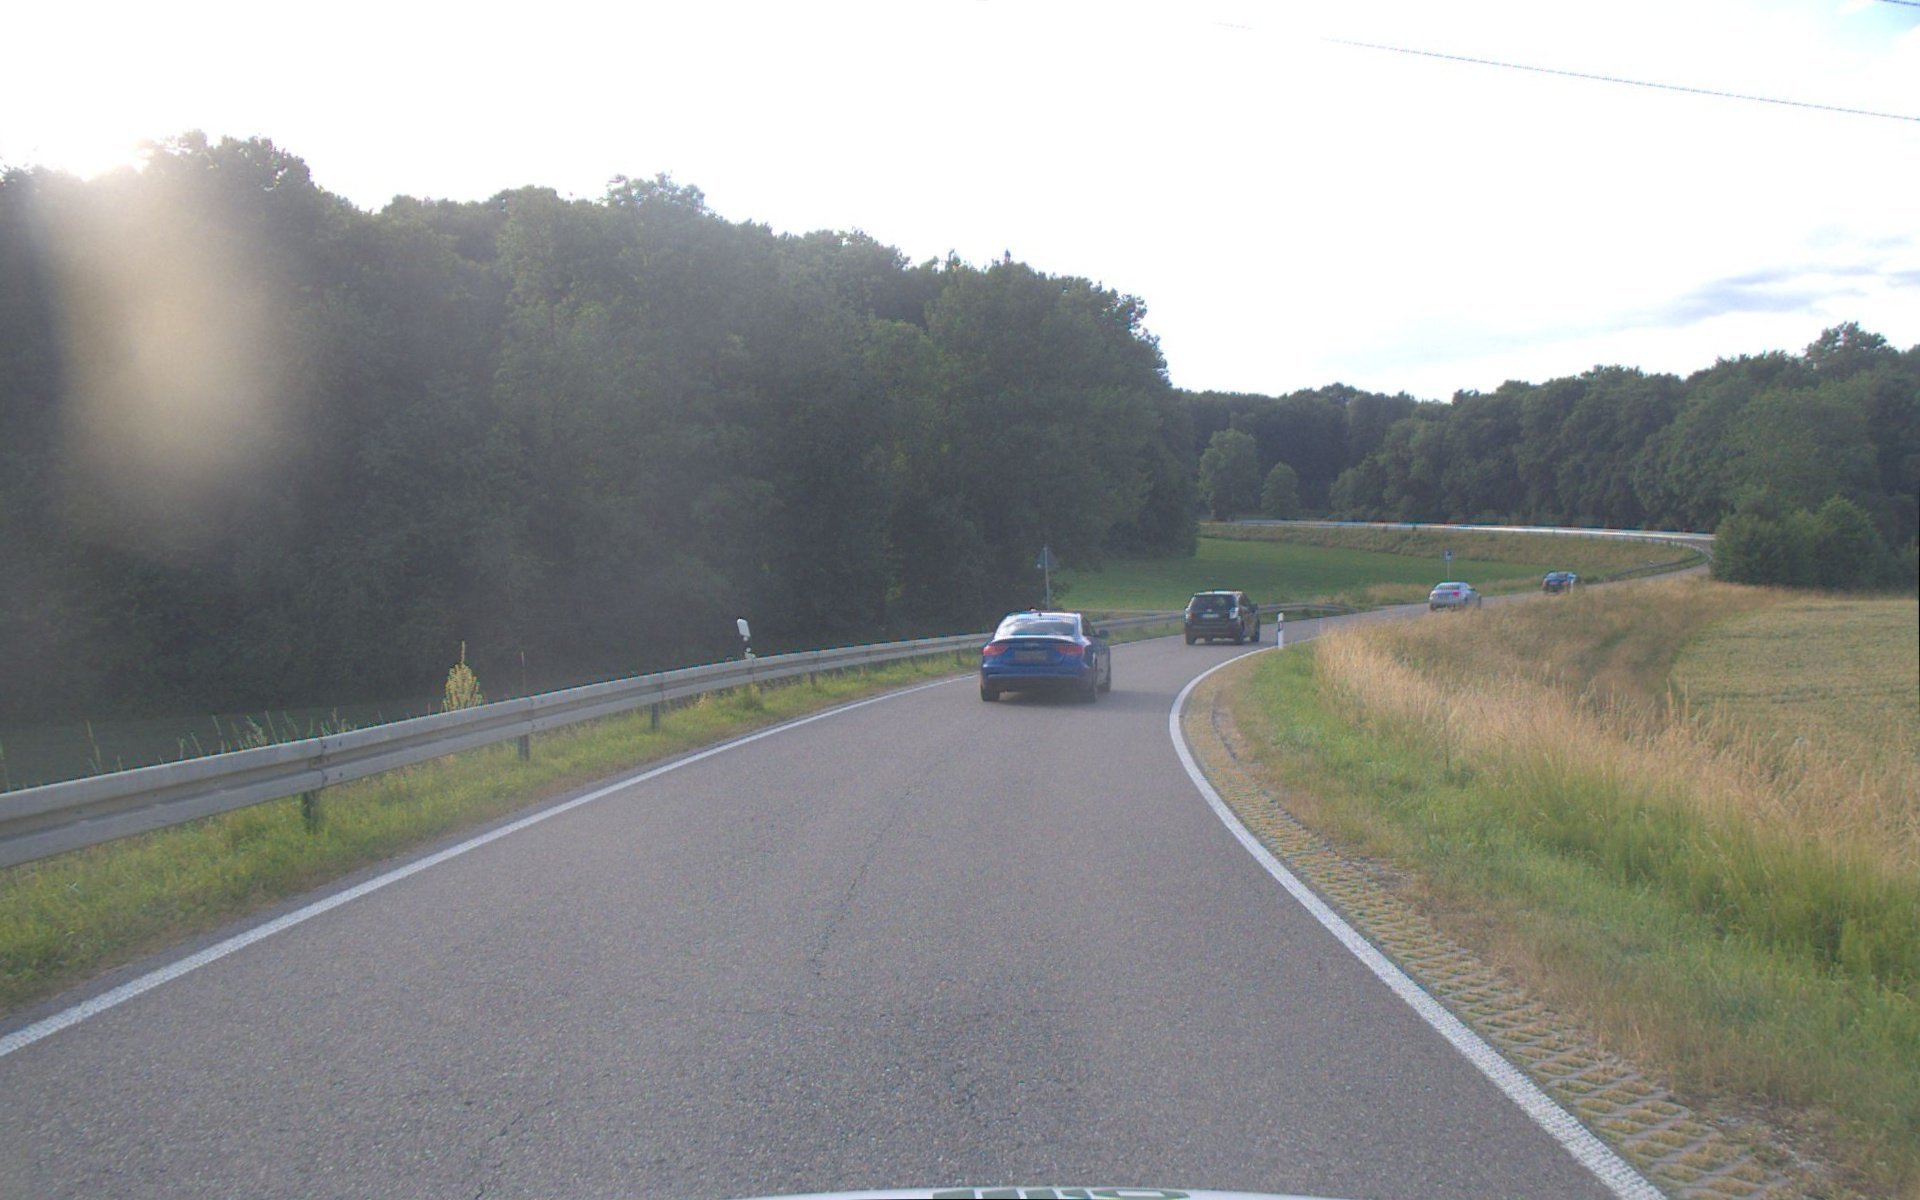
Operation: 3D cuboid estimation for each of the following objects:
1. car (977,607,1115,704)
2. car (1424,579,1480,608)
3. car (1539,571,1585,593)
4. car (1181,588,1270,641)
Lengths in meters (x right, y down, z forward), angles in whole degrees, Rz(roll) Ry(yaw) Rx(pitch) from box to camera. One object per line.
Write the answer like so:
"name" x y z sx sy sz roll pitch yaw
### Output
"car" 1.470 0.836 26.751 1.779 1.362 4.354 0 1 9
"car" 25.571 -0.343 85.903 1.653 1.400 3.988 -3 -1 34
"car" 38.347 -1.145 105.344 3.276 1.248 1.451 -3 -1 -45
"car" 8.373 0.426 51.885 1.824 1.596 3.999 -1 0 23
